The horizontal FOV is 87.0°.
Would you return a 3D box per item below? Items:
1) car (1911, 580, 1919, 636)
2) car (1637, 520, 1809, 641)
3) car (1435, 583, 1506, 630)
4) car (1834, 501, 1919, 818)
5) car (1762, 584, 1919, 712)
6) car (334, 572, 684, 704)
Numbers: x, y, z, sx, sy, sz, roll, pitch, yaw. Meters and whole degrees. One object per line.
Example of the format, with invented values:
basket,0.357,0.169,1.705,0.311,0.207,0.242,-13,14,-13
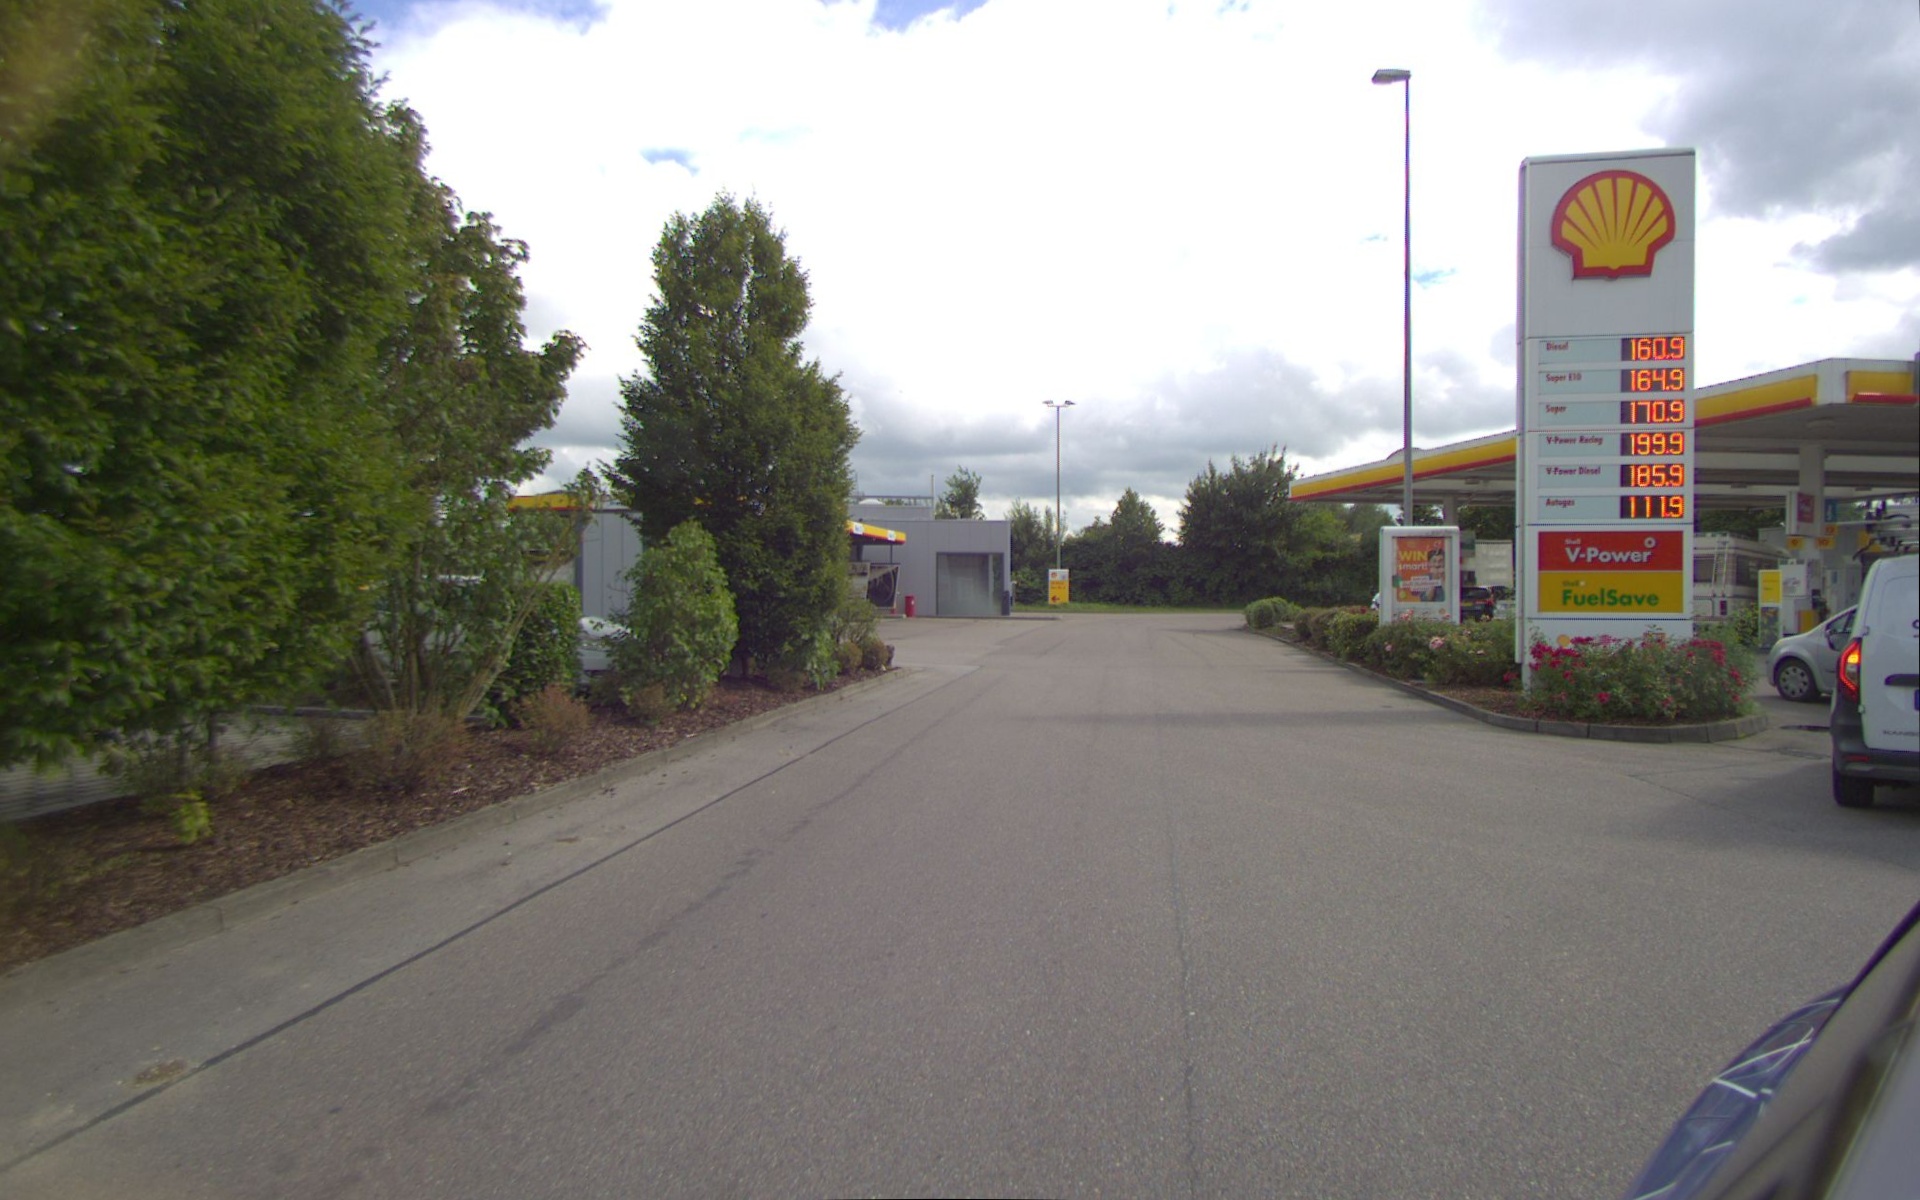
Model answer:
car,28.706,0.243,27.561,1.681,1.621,3.768,0,0,-12
car,19.774,-0.477,26.129,5.704,2.822,2.222,0,0,-39
car,18.488,0.191,36.566,1.838,1.594,3.952,0,0,33
car,7.863,0.386,7.495,3.817,2.038,1.792,0,0,-44
car,12.560,0.584,12.852,1.547,1.566,3.726,0,0,-6
car,-5.658,0.409,12.817,3.826,1.453,1.718,1,1,15
